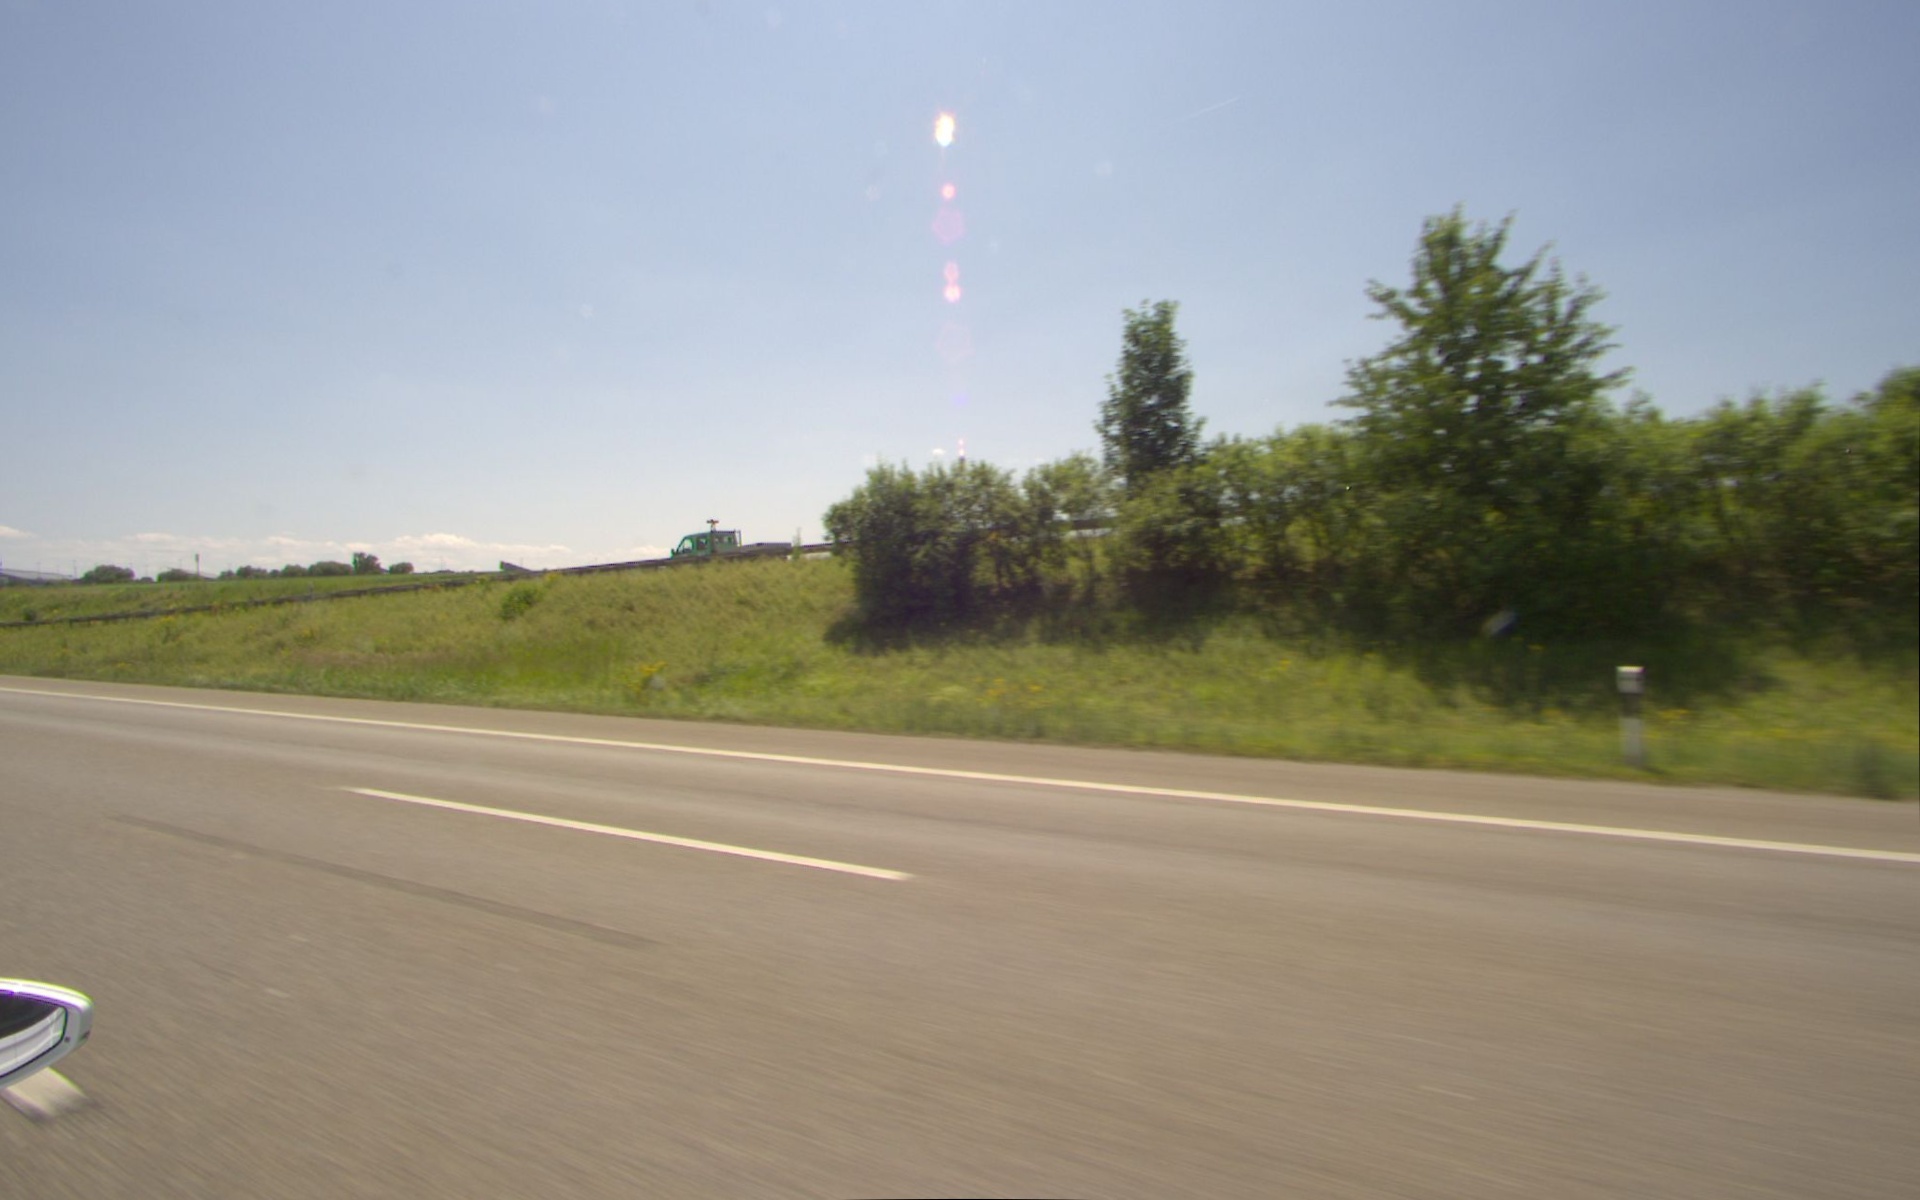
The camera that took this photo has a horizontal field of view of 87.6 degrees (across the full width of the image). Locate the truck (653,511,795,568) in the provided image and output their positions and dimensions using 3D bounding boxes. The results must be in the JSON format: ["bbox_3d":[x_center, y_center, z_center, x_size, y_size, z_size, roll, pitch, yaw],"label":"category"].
[{"bbox_3d":[-10.216,-2.545,43.242,6.021,2.119,2.164,-1,0,27],"label":"truck"}]
